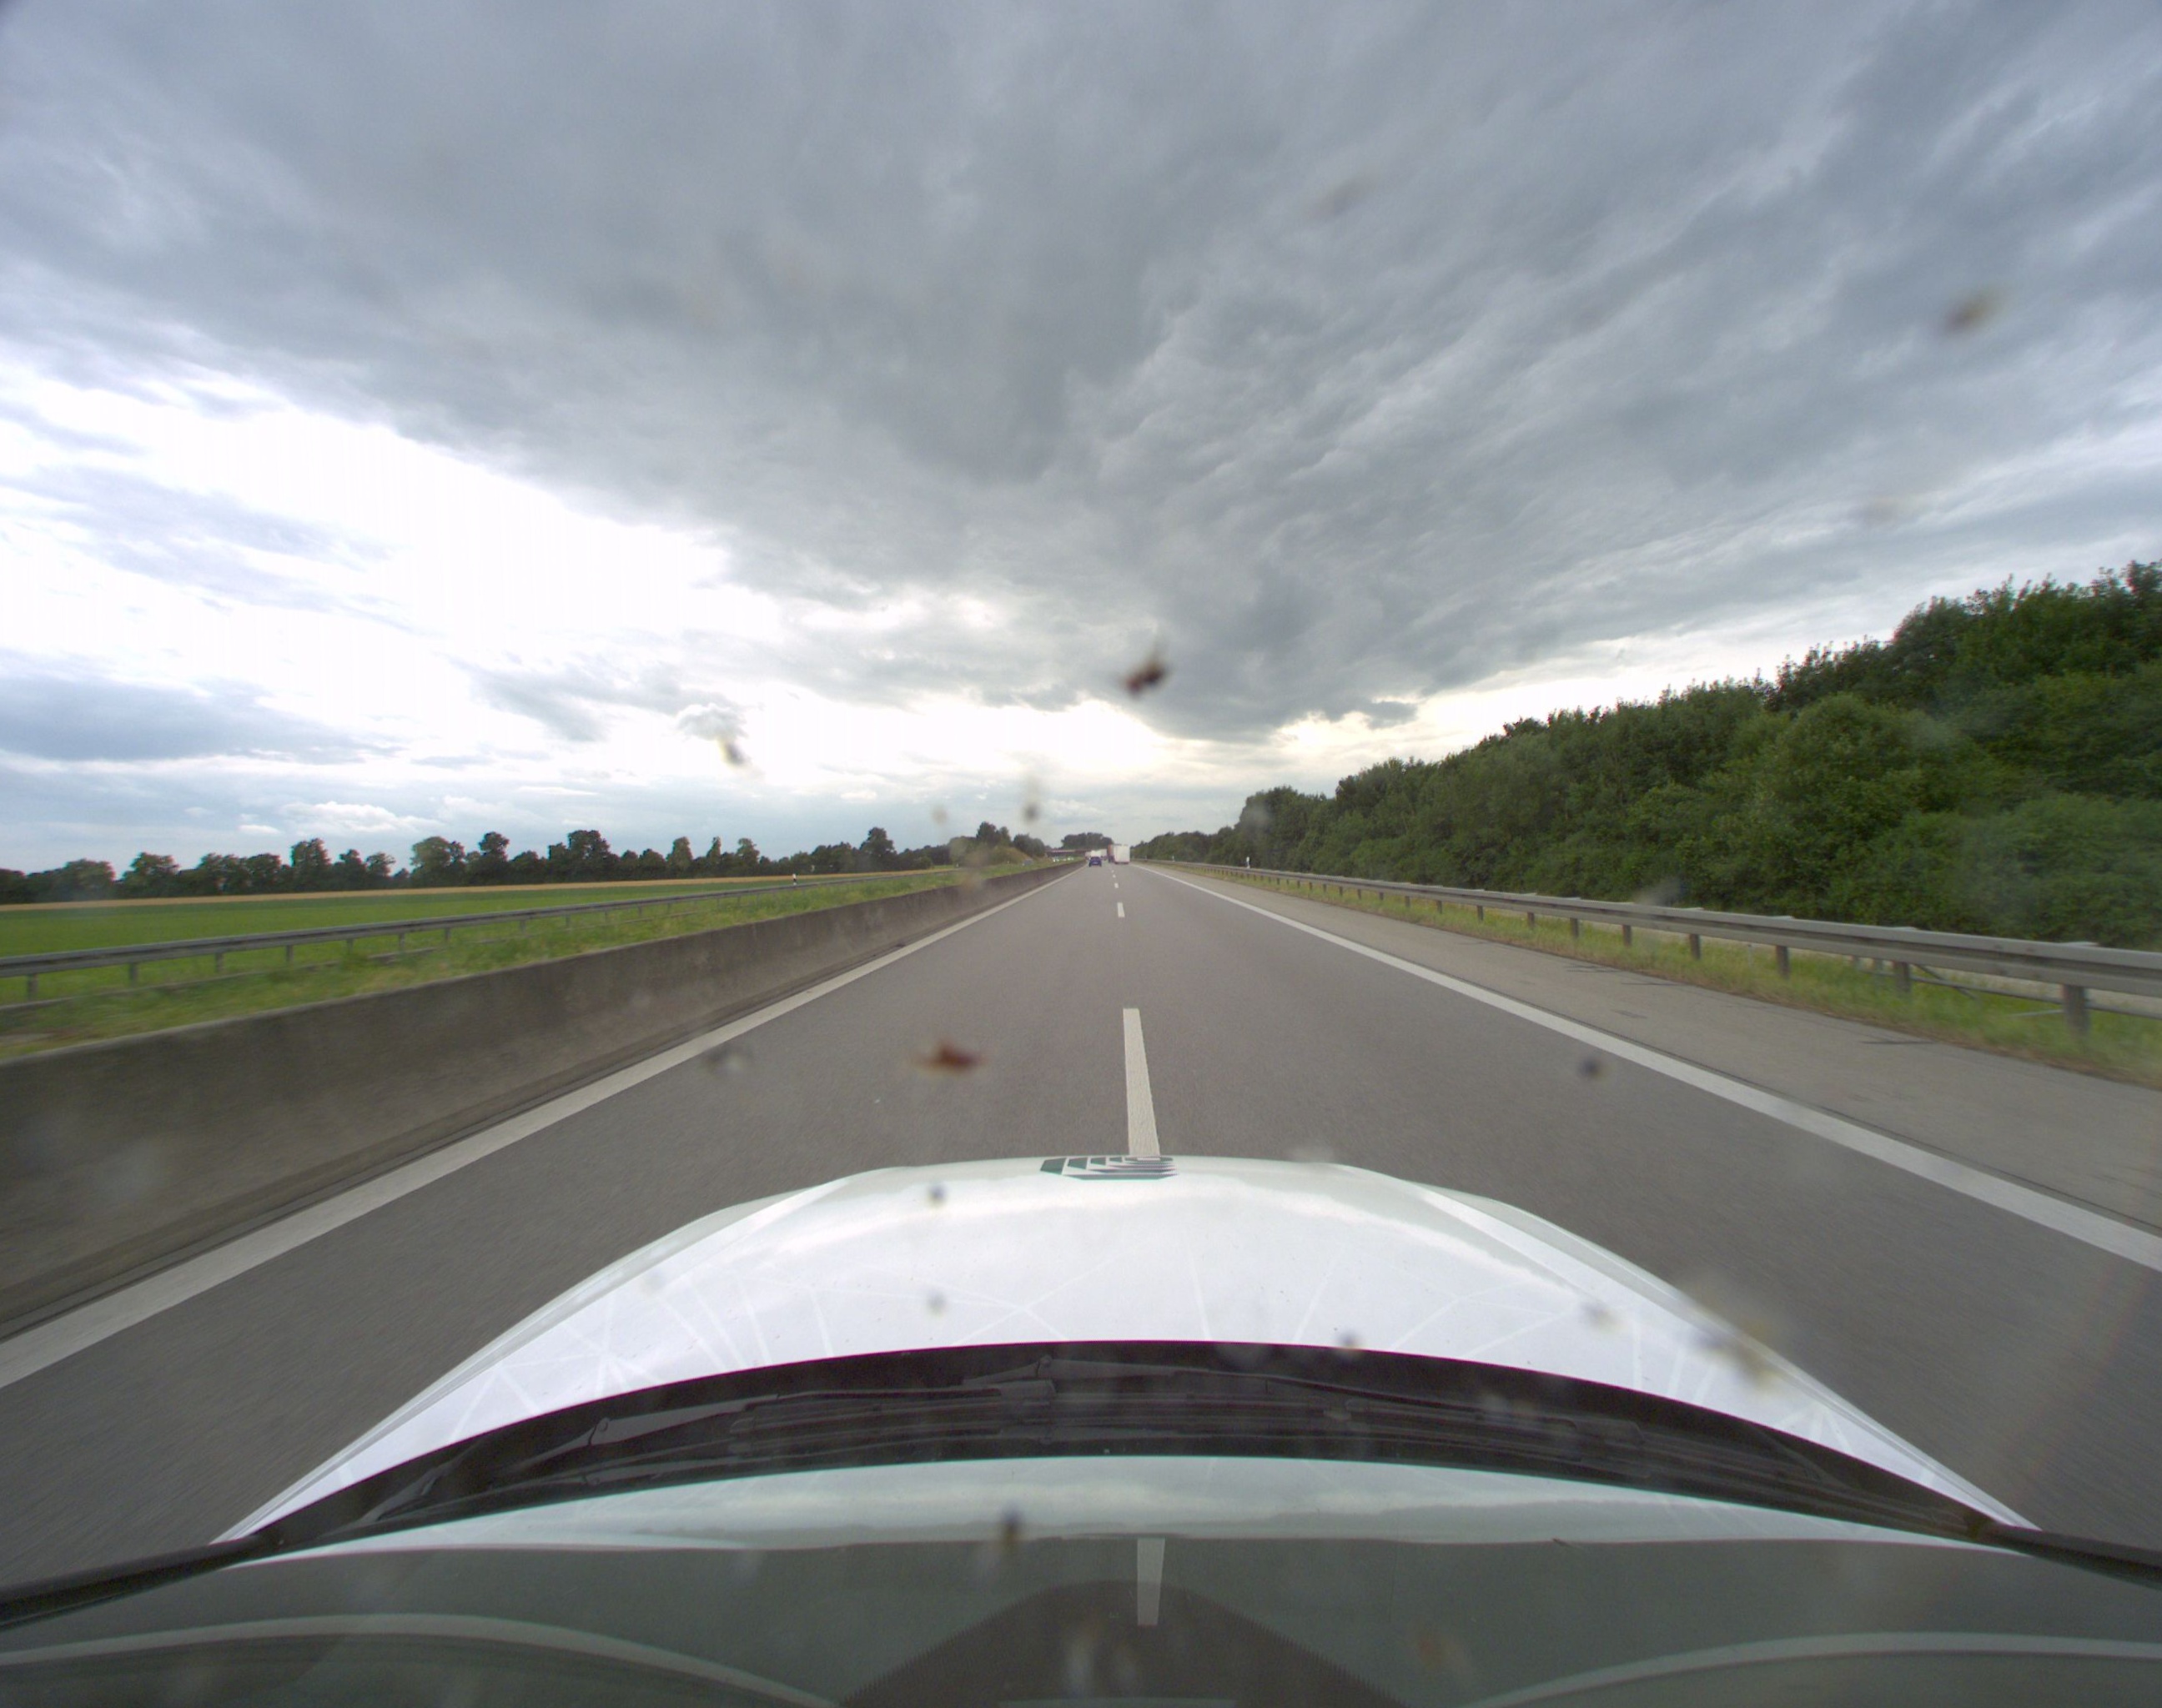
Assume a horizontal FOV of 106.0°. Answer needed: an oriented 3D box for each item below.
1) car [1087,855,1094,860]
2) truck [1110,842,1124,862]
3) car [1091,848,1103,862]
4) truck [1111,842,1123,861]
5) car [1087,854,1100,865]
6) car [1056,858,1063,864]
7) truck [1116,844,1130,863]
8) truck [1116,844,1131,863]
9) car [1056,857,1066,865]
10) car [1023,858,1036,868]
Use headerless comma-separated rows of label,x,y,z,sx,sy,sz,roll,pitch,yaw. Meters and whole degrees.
car,2.935,1.134,259.995,1.989,1.684,3.995,-1,-1,-3
truck,7.787,-0.446,175.645,2.662,4.045,11.114,-2,0,3
car,3.096,0.233,154.238,2.122,2.483,5.841,-2,-1,1
truck,8.024,-0.461,181.102,2.662,4.045,5.516,-2,0,2
car,1.674,0.731,111.978,1.658,1.407,3.647,-1,0,-1
car,-6.054,1.985,228.890,1.830,1.626,4.691,-3,0,1
truck,7.537,0.009,145.908,2.420,3.243,7.250,-1,-1,2
truck,7.259,-0.031,138.716,2.406,3.222,7.147,-1,-1,2
car,-4.247,1.530,175.074,1.834,1.694,4.358,-3,0,1
car,-8.402,1.524,133.228,1.740,1.487,4.531,-3,0,1
